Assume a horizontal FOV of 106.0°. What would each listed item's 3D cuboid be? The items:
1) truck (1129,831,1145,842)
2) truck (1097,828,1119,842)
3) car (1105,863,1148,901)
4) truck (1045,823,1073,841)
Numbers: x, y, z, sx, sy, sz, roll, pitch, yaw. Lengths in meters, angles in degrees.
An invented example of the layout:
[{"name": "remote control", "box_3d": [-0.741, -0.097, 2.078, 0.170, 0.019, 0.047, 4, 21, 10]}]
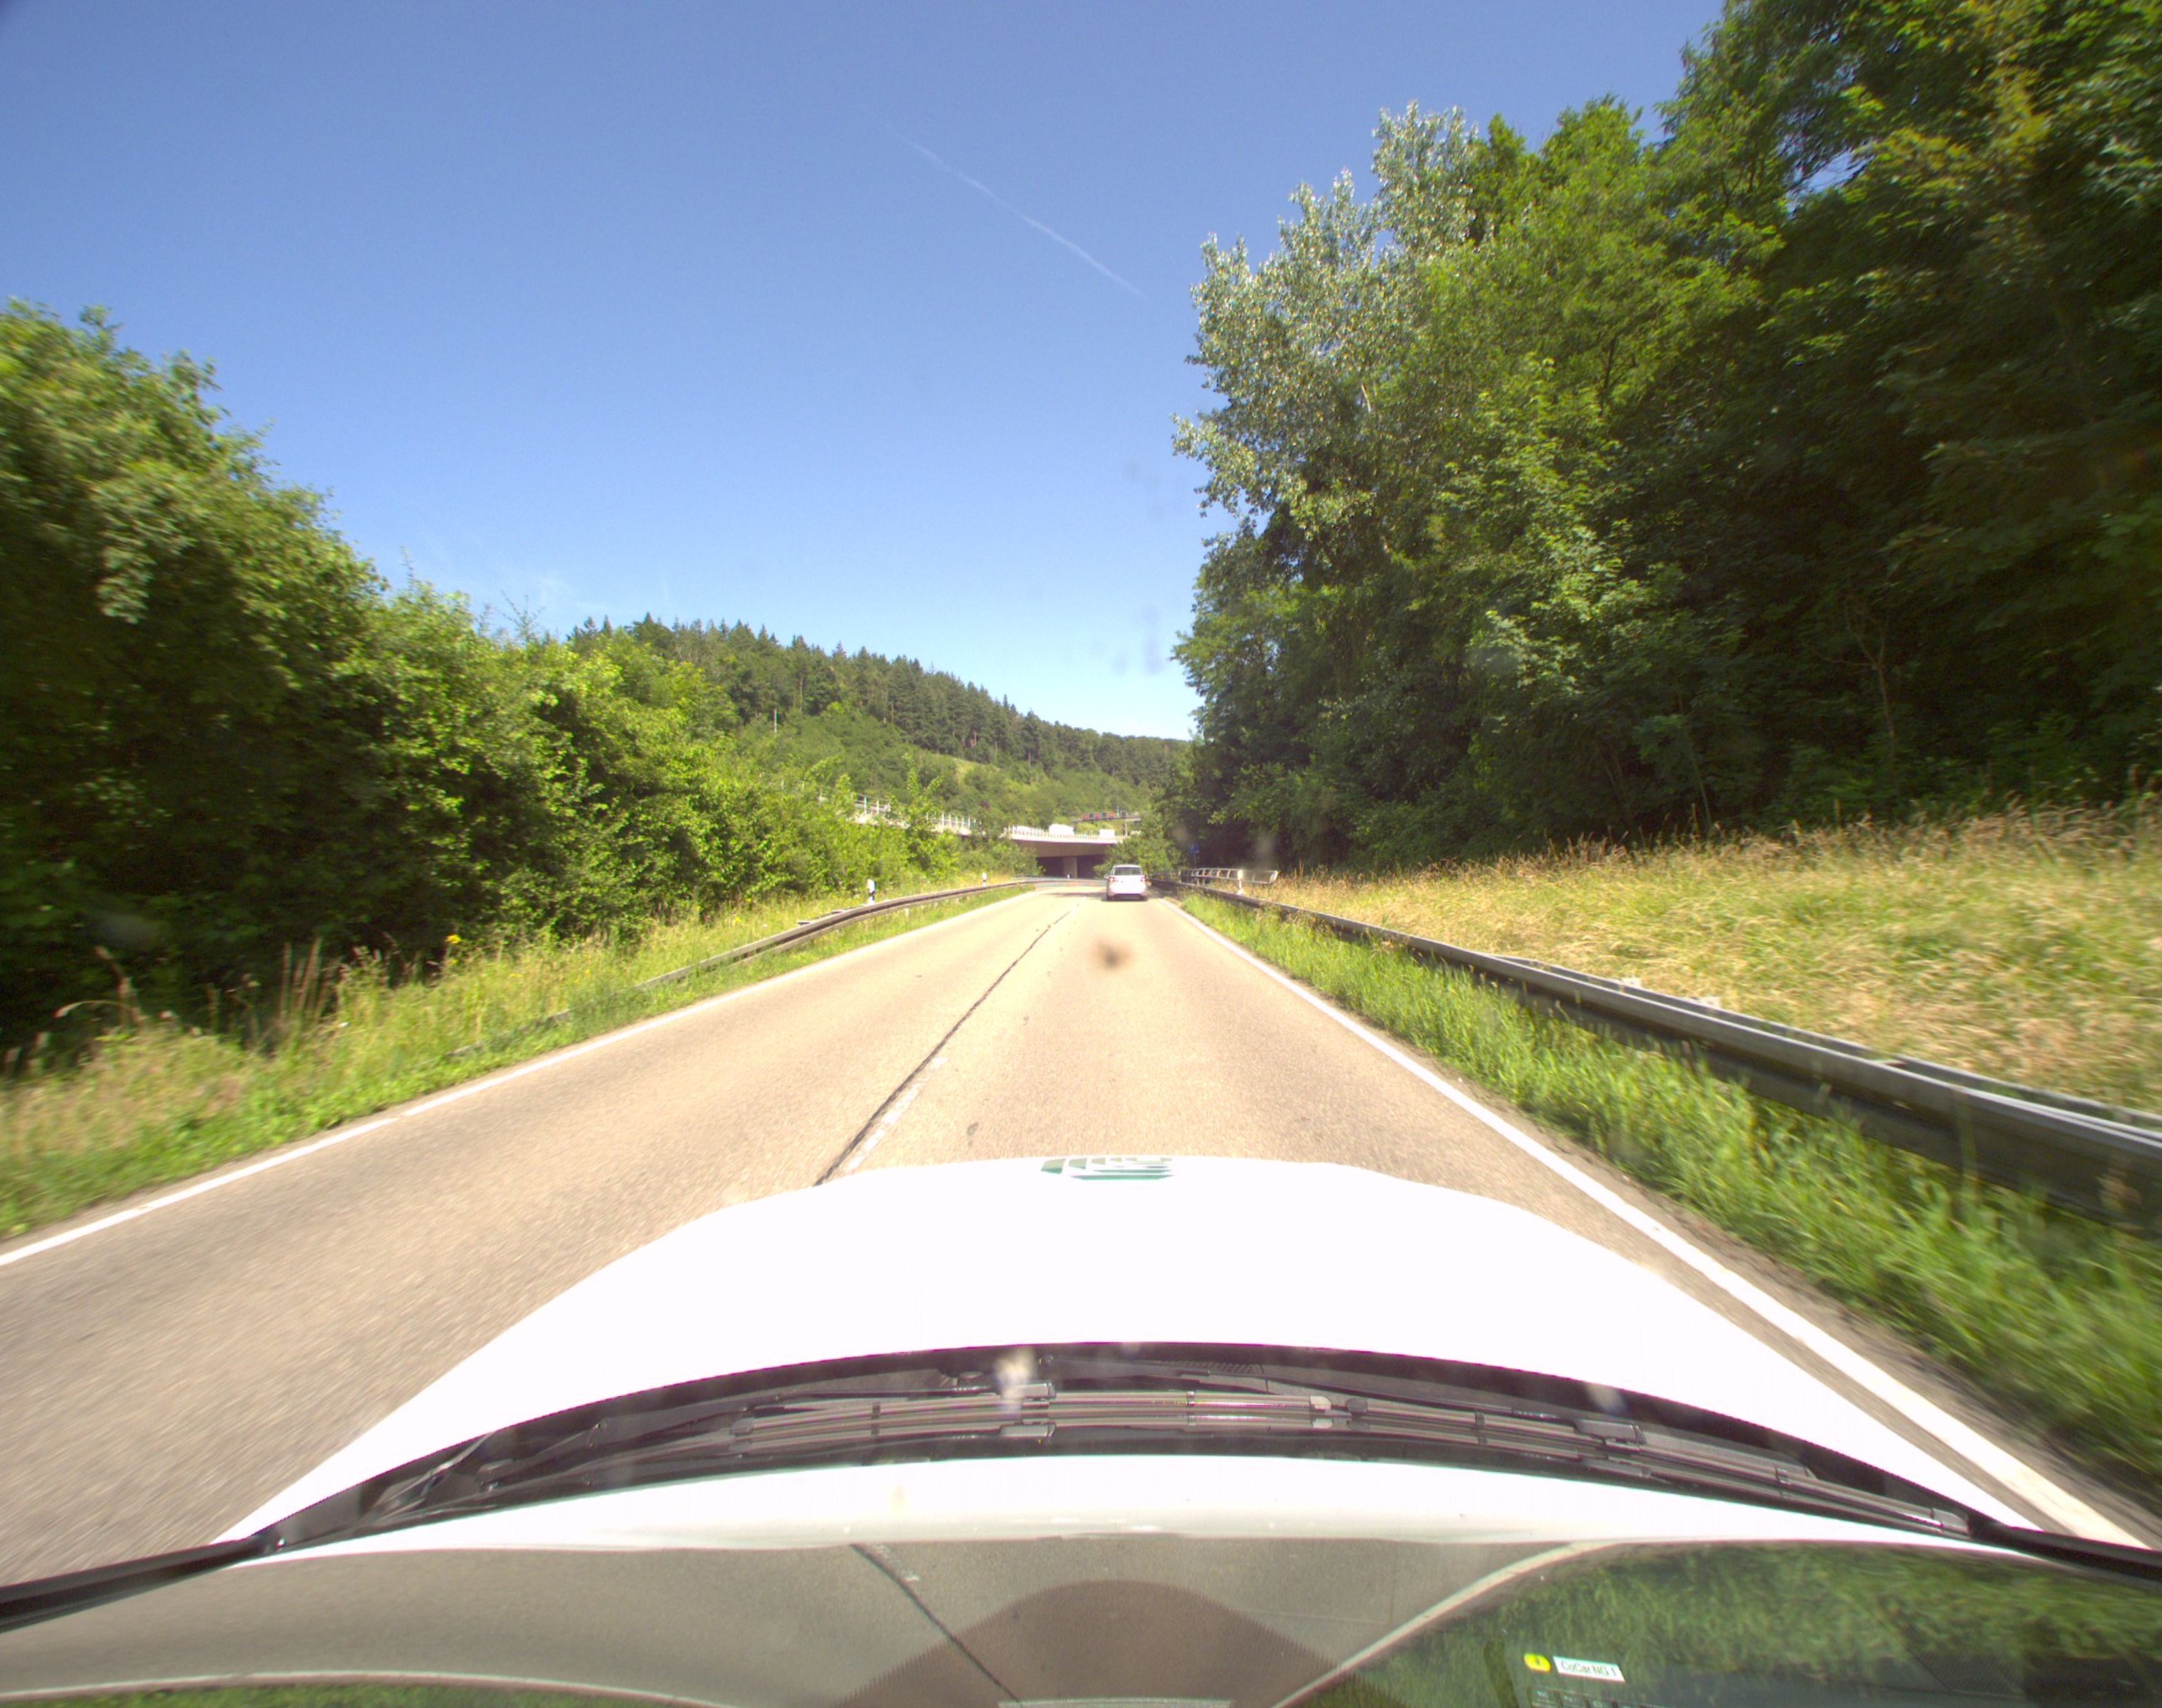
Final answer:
[{"name": "truck", "box_3d": [18.077, -5.598, 263.376, 3.516, 3.423, 9.935, -1, 0, 13]}, {"name": "truck", "box_3d": [7.257, -5.076, 218.992, 3.732, 3.385, 10.547, -1, 0, 14]}, {"name": "car", "box_3d": [1.959, 1.187, 35.538, 1.744, 1.520, 4.161, -1, -1, 2]}, {"name": "truck", "box_3d": [-4.456, -4.567, 169.089, 3.347, 3.355, 10.212, 0, -1, 13]}]
